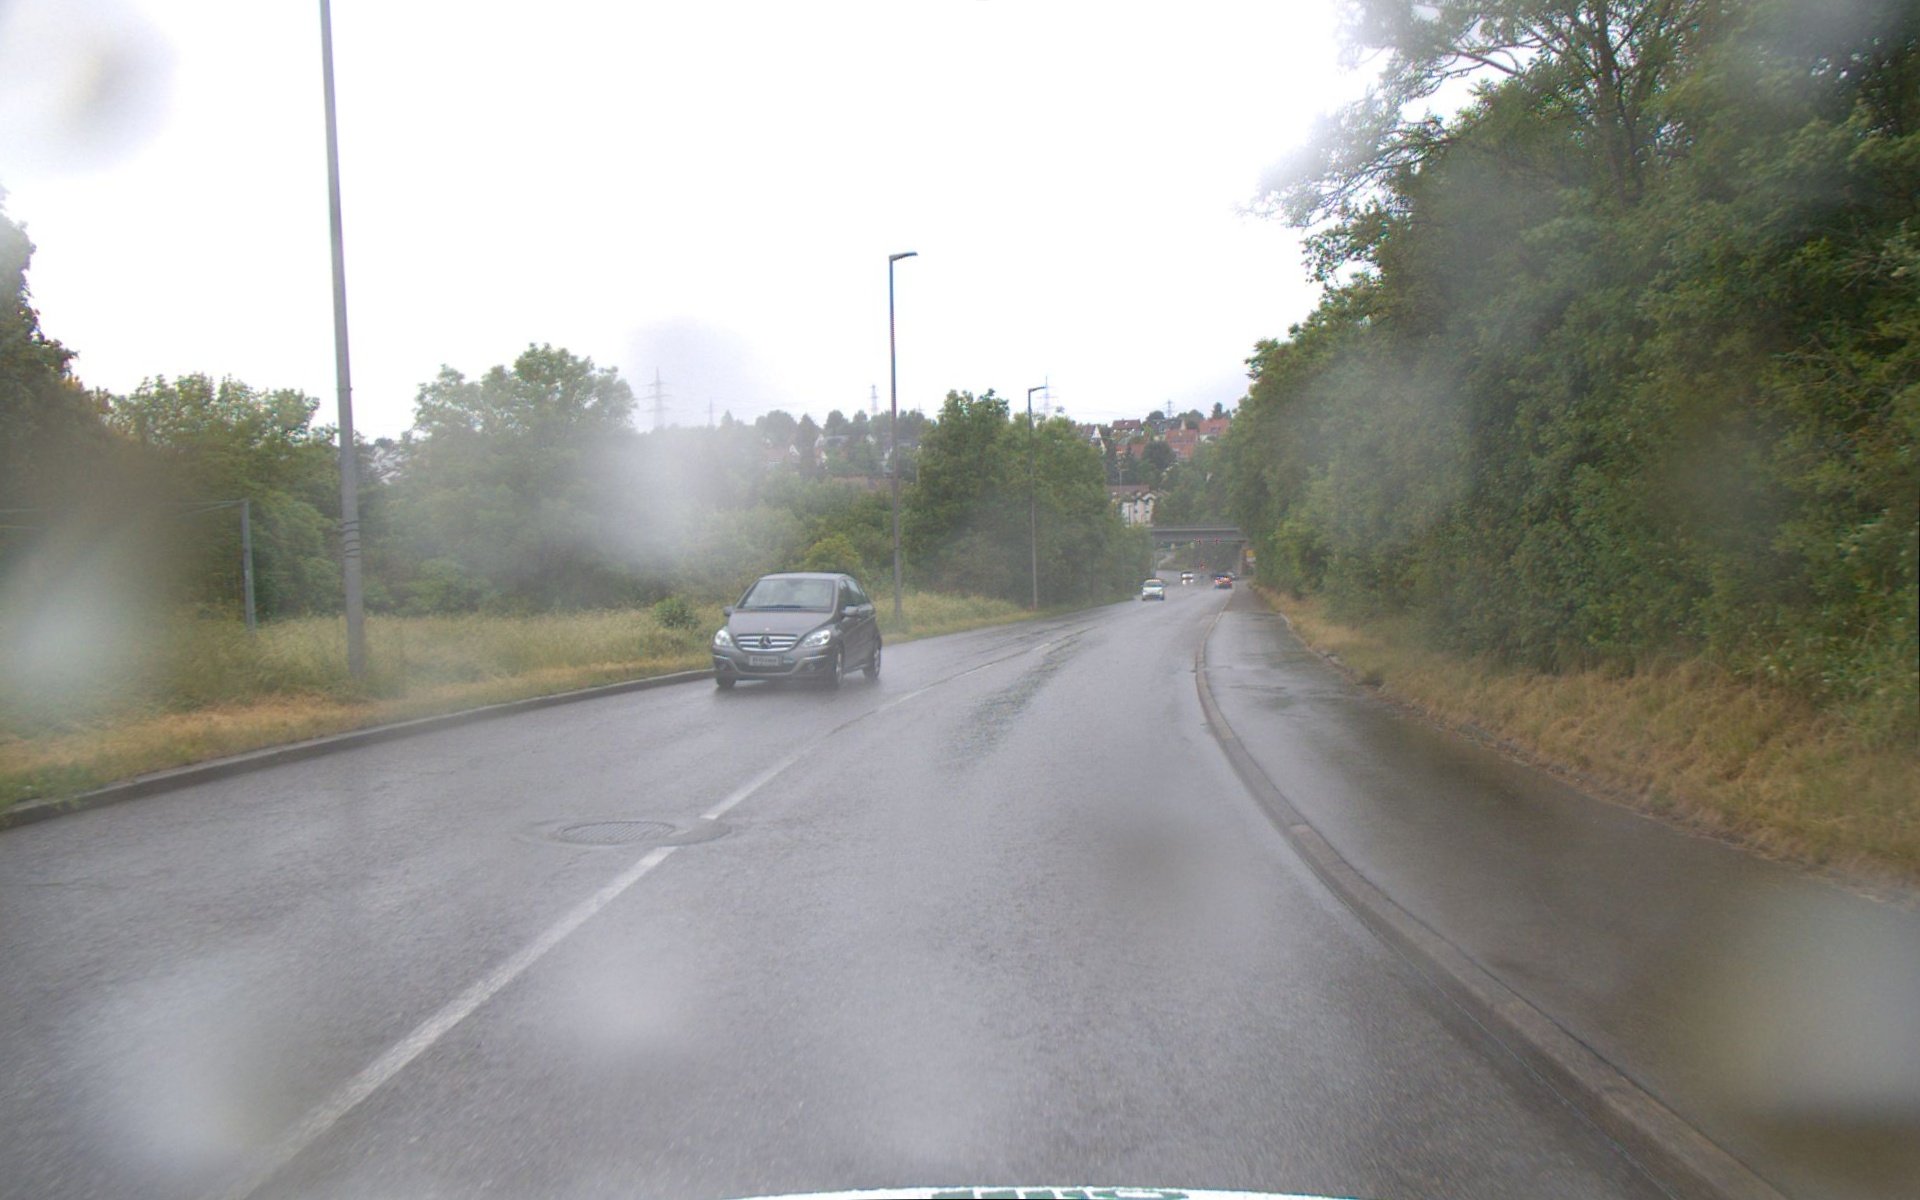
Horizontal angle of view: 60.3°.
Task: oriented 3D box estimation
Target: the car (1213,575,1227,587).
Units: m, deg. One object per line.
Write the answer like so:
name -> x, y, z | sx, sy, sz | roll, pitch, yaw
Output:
car -> 36.002, -2.663, 229.226 | 1.730, 1.590, 4.004 | -3, 0, 10

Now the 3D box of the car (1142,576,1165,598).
car -> 14.227, -0.966, 121.901 | 1.604, 1.514, 3.456 | -3, 0, 6

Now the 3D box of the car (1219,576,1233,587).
car -> 35.792, -2.505, 222.607 | 1.730, 1.404, 4.004 | -3, 0, 10

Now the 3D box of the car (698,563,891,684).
car -> -2.296, 0.288, 24.096 | 1.824, 1.579, 4.269 | 1, 0, 8
